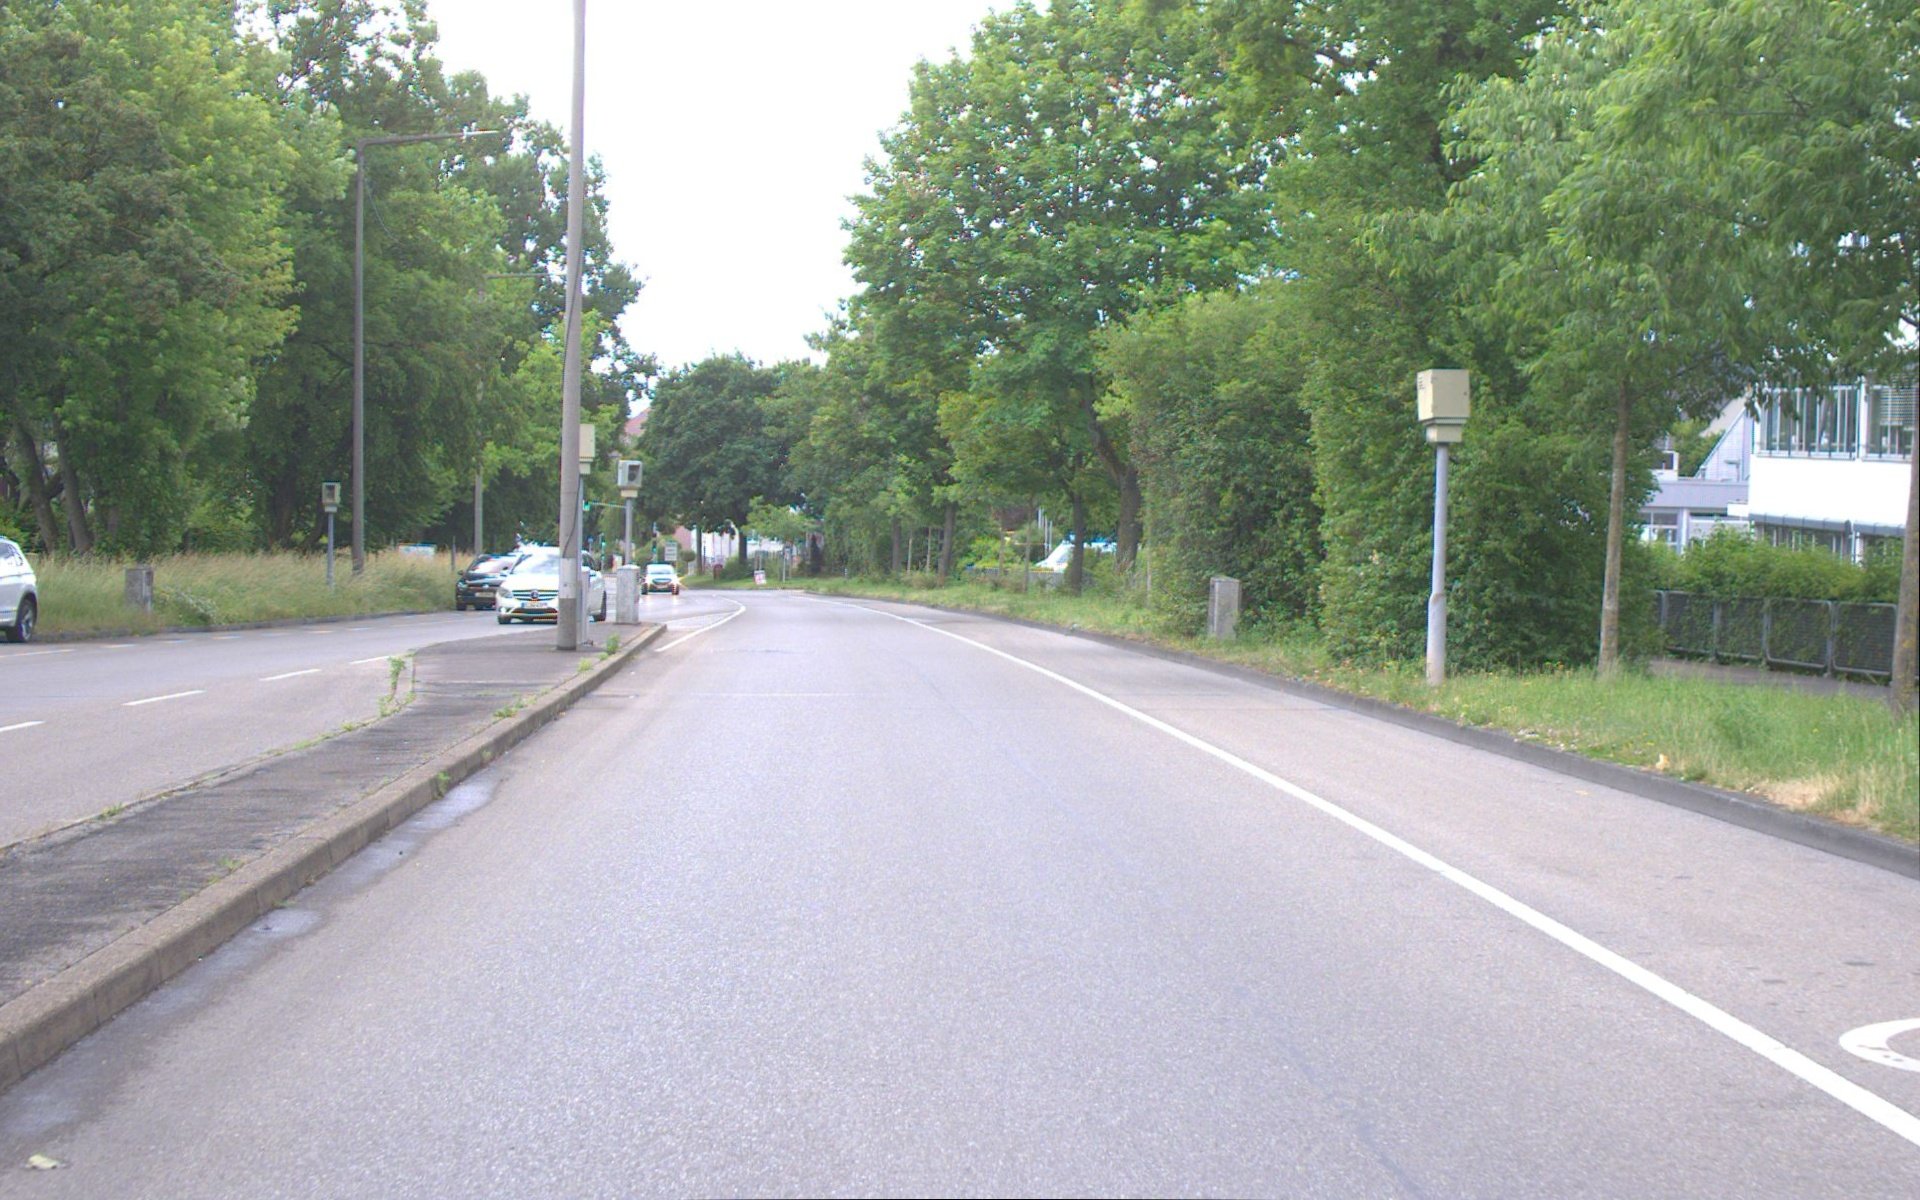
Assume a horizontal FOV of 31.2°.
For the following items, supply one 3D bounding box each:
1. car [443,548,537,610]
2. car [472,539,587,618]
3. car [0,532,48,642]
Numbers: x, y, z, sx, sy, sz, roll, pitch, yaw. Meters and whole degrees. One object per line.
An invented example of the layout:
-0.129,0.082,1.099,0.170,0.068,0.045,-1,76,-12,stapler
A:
-12.388,-0.543,90.802,1.875,1.565,4.651,1,0,-1,car
-8.949,-0.426,71.744,1.875,1.565,4.339,1,0,-1,car
-15.401,-0.218,51.608,1.875,1.661,4.390,1,0,5,car
